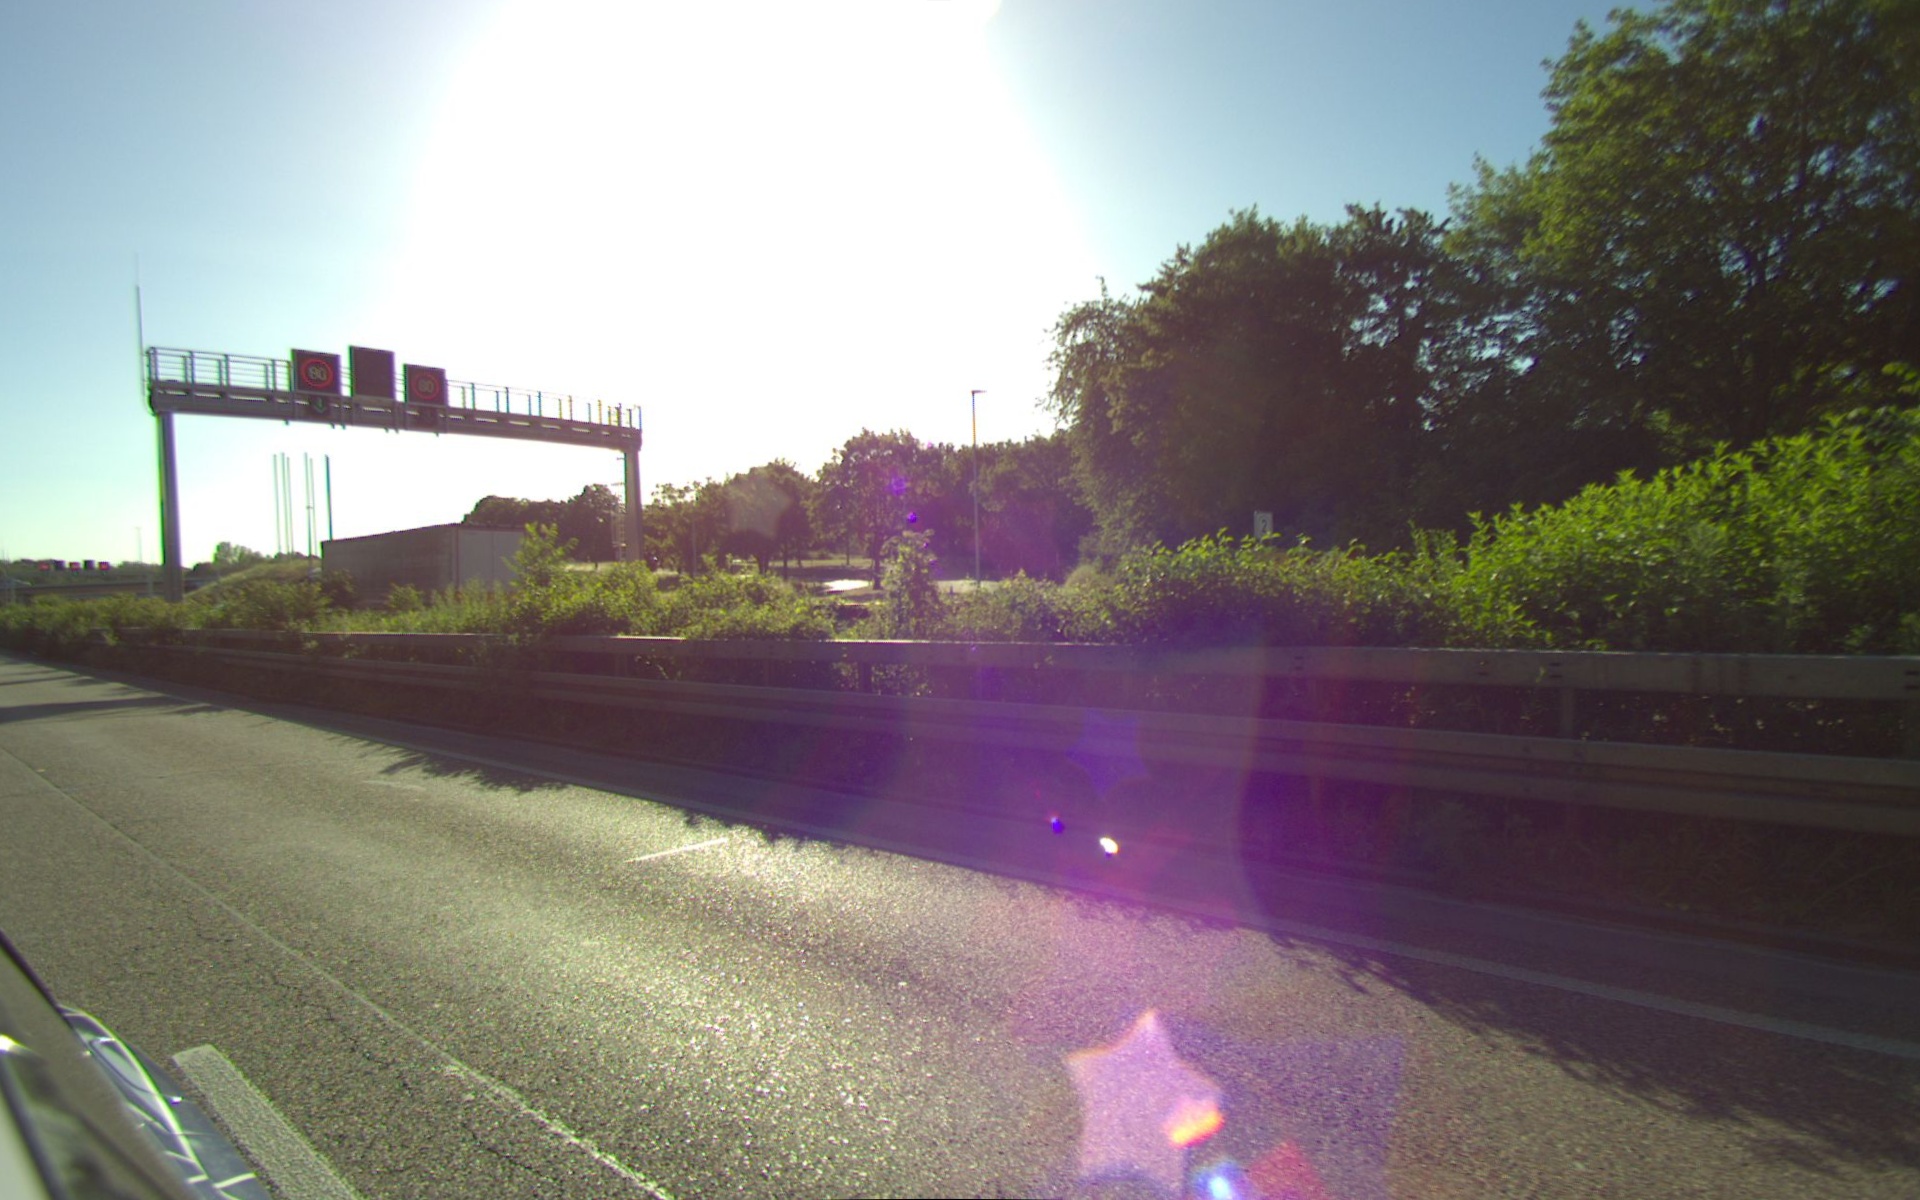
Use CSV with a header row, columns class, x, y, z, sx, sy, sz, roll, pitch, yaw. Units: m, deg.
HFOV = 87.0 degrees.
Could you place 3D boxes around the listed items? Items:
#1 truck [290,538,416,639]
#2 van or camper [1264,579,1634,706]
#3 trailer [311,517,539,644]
class,x,y,z,sx,sy,sz,roll,pitch,yaw
truck,-25.634,-0.412,42.654,5.900,3.942,2.971,-1,0,42
van or camper,8.917,0.731,18.966,5.938,2.029,1.856,-2,0,43
trailer,-20.458,-0.516,37.925,14.024,4.018,2.990,-1,0,43
